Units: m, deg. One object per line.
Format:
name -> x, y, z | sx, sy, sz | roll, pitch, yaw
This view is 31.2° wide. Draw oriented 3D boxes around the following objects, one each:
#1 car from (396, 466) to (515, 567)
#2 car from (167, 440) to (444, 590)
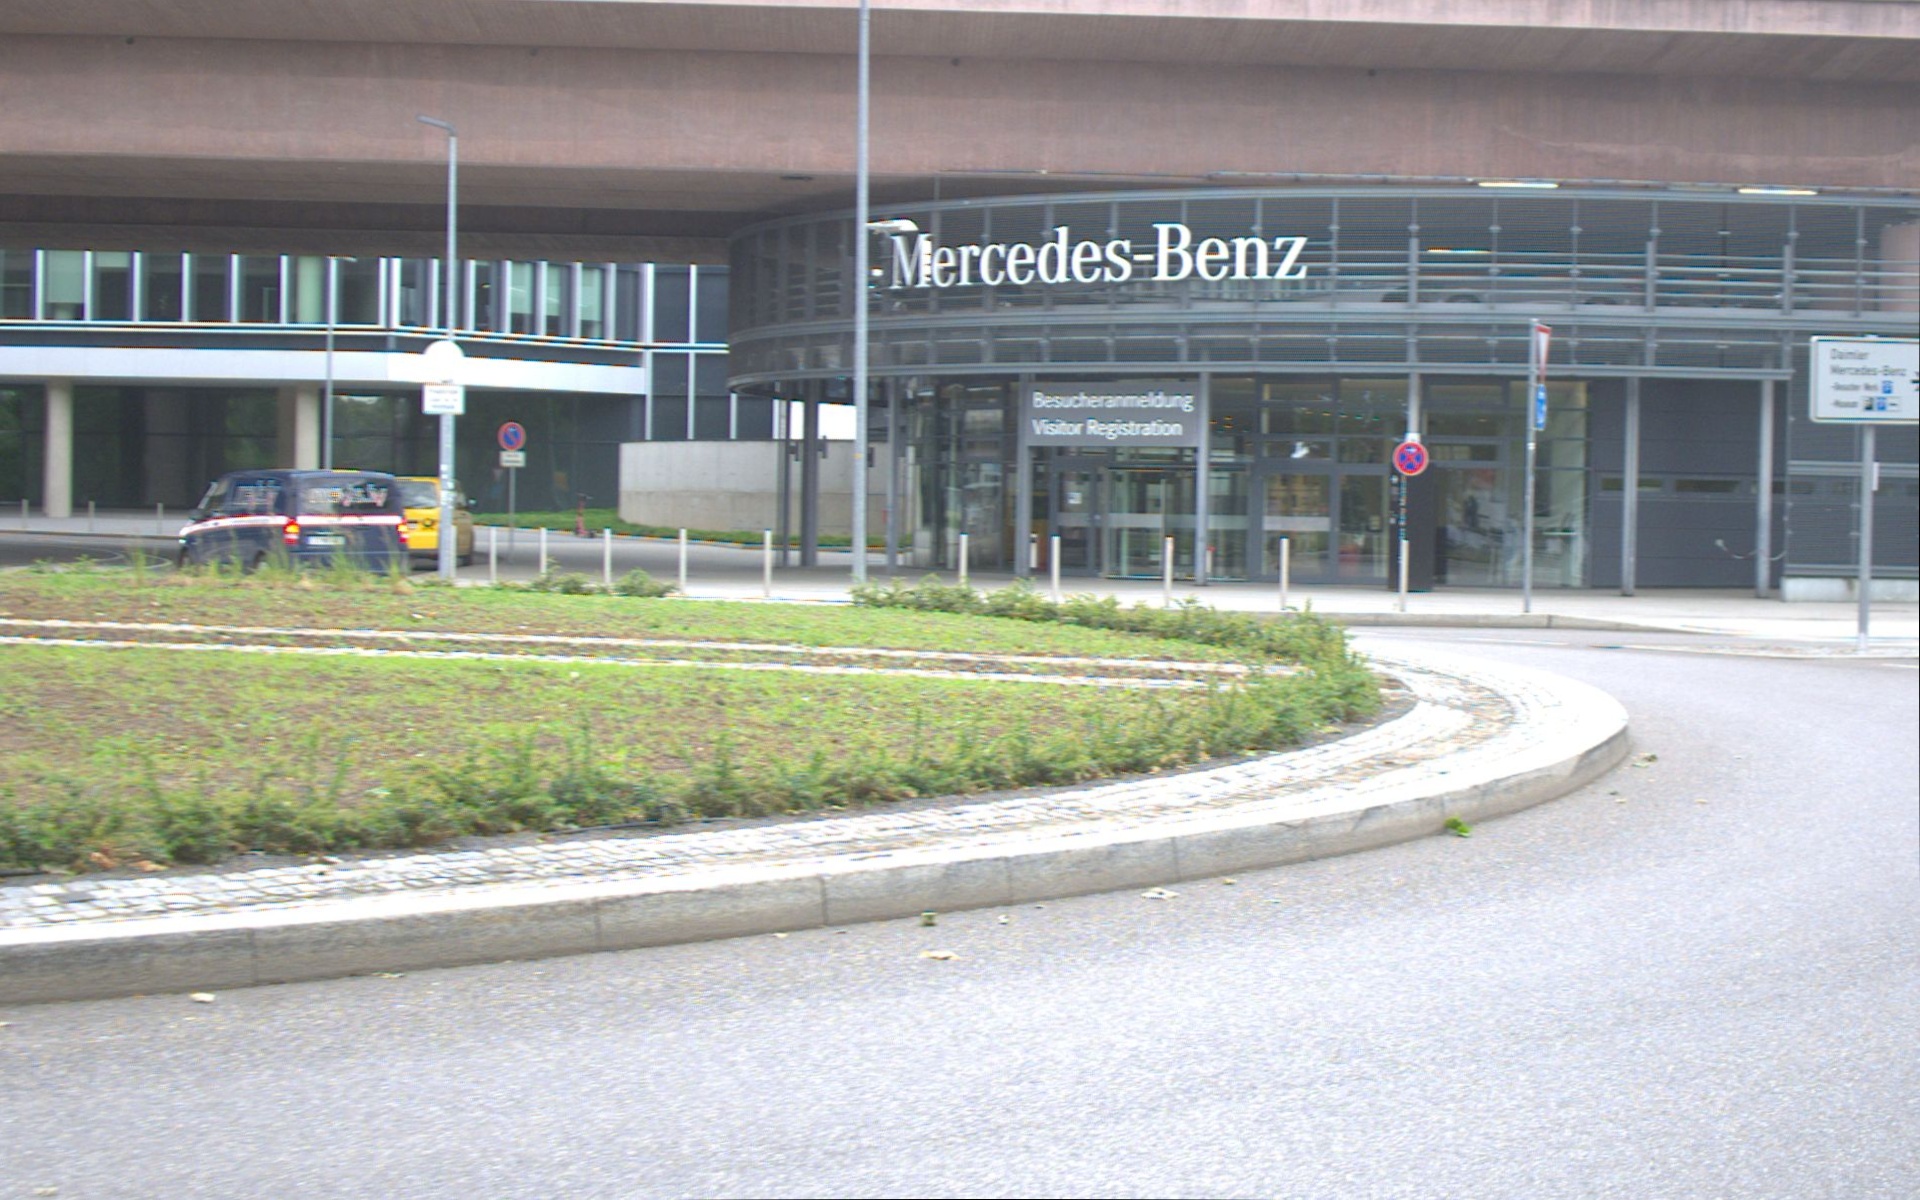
car -> -10.573, -1.749, 72.281 | 1.993, 2.007, 4.001 | 2, 1, -2
car -> -9.486, -1.240, 49.524 | 2.276, 2.007, 4.784 | 1, 1, -32
